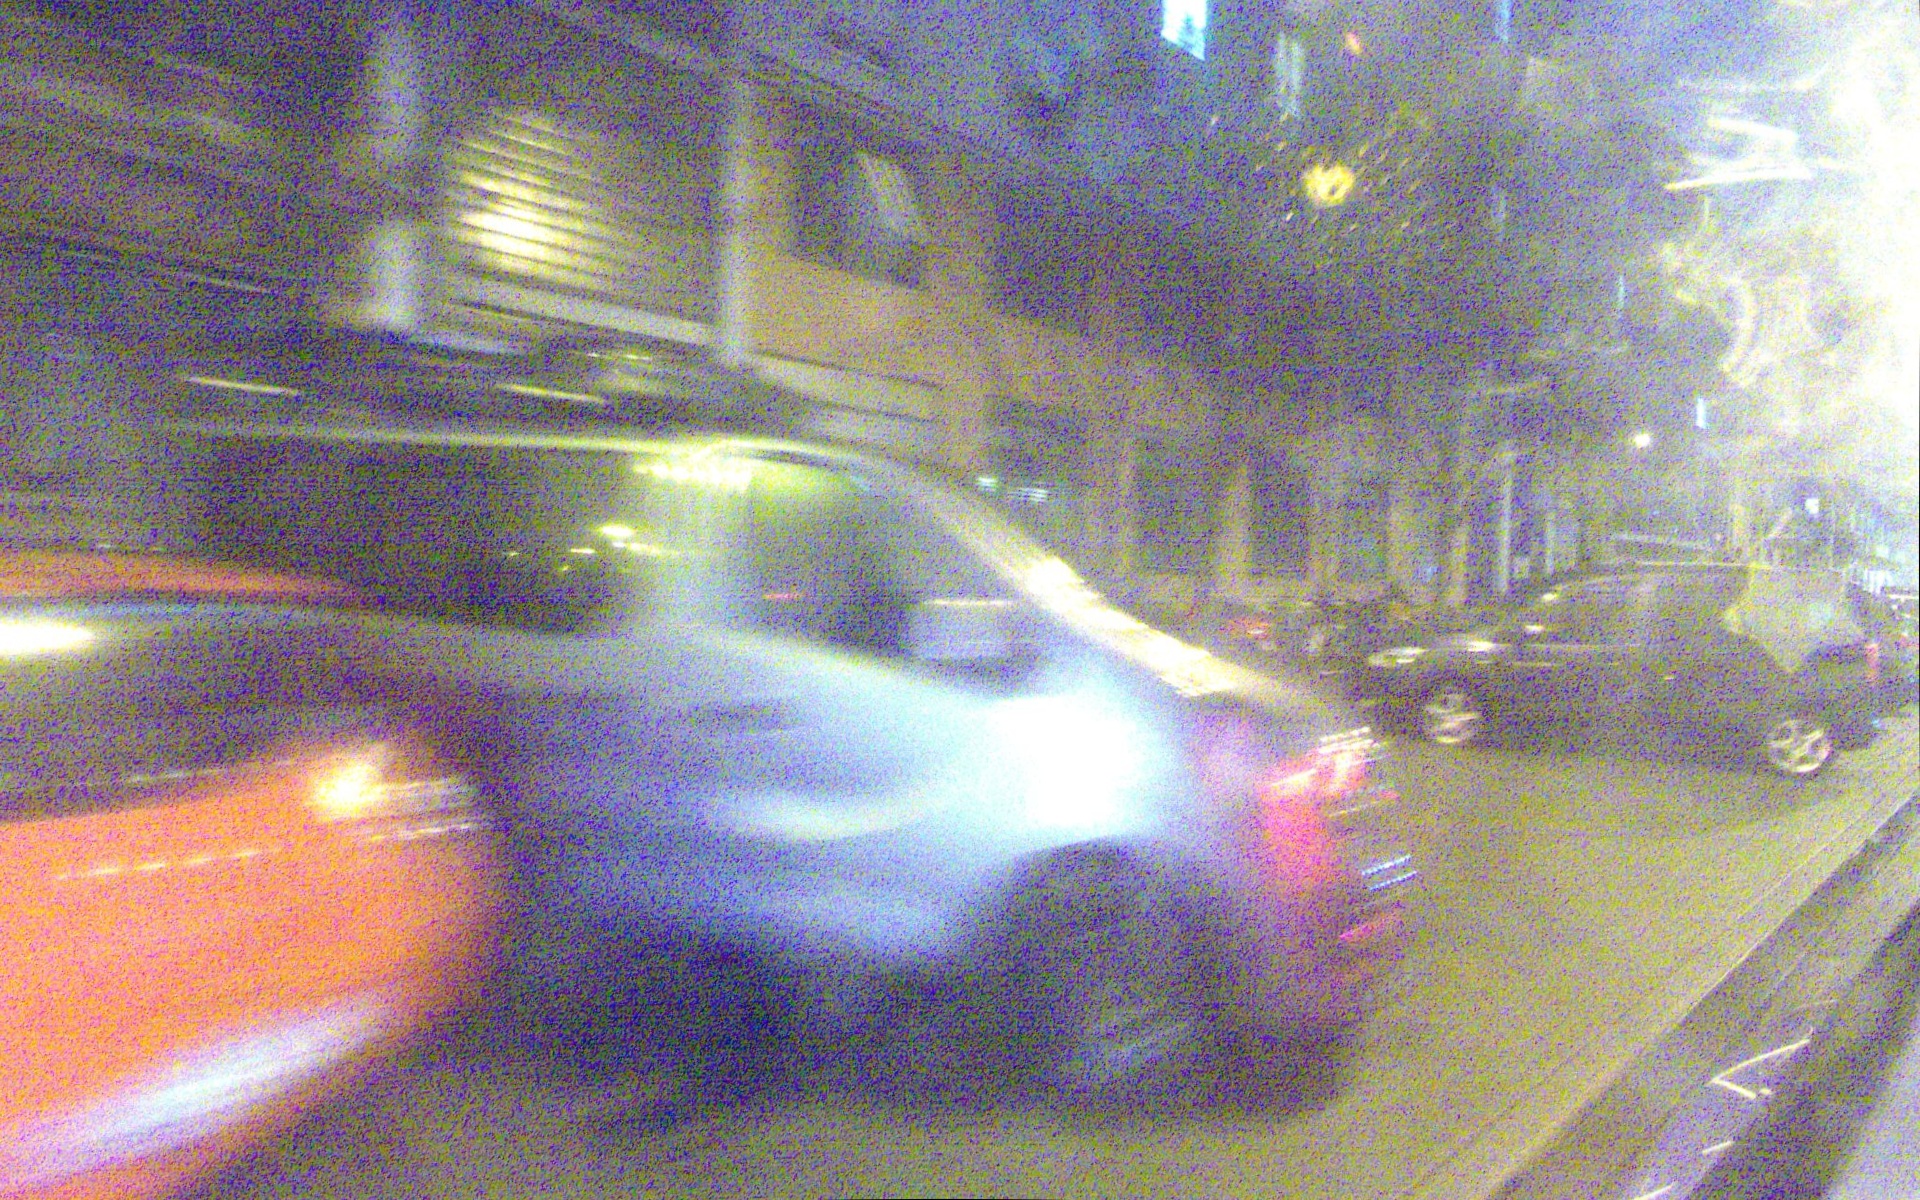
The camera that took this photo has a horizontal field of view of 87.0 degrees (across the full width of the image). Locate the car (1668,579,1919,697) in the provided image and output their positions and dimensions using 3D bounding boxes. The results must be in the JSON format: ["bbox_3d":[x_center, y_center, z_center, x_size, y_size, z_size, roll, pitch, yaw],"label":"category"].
[{"bbox_3d":[14.413,0.576,16.741,4.059,1.787,1.845,1,0,22],"label":"car"}]

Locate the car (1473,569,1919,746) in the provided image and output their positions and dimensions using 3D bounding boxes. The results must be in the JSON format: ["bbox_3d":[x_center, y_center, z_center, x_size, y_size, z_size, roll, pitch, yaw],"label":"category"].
[{"bbox_3d":[8.109,0.561,11.543,3.722,1.750,1.708,1,0,17],"label":"car"}]

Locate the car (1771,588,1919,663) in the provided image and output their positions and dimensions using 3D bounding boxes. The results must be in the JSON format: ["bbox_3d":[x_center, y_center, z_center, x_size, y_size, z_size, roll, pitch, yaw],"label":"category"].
[{"bbox_3d":[21.756,0.616,23.897,3.674,1.541,1.643,4,3,25],"label":"car"}]

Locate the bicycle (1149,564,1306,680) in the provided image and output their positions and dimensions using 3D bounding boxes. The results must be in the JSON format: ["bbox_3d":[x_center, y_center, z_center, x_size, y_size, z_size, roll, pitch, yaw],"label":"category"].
[{"bbox_3d":[3.598,0.254,13.793,0.767,1.351,1.980,1,4,-34],"label":"bicycle"}]

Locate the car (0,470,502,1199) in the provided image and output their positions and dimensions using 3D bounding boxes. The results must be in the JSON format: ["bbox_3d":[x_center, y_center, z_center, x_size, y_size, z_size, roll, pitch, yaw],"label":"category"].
[{"bbox_3d":[-3.001,0.505,2.264,3.350,1.561,1.572,2,2,14],"label":"car"}]

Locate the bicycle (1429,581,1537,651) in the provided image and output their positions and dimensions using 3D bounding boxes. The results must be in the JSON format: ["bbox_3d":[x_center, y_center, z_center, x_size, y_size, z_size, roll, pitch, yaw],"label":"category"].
[{"bbox_3d":[10.067,0.287,19.526,1.685,1.160,0.588,6,4,42],"label":"bicycle"}]

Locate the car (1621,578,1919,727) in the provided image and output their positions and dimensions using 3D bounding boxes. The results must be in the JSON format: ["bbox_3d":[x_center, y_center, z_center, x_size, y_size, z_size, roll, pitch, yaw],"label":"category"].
[{"bbox_3d":[10.977,0.615,13.063,3.755,1.750,1.730,1,0,20],"label":"car"}]

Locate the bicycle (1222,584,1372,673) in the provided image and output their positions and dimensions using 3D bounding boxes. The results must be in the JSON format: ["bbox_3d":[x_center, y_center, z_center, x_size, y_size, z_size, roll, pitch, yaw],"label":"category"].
[{"bbox_3d":[4.815,0.375,14.585,1.972,1.067,0.502,6,4,43],"label":"bicycle"}]

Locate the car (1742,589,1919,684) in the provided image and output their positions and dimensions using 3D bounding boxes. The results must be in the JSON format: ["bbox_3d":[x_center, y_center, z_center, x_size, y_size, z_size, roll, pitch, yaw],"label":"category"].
[{"bbox_3d":[16.656,0.636,18.442,3.532,1.631,1.696,1,0,28],"label":"car"}]

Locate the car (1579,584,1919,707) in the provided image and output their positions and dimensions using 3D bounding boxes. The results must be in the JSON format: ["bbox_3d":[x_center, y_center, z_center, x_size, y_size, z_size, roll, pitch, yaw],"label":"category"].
[{"bbox_3d":[11.839,0.606,15.187,4.012,1.631,1.832,1,0,20],"label":"car"}]

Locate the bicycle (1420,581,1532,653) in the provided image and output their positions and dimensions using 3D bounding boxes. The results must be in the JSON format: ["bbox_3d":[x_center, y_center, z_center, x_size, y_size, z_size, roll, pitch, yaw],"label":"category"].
[{"bbox_3d":[9.647,0.292,18.960,1.685,1.160,0.655,6,4,42],"label":"bicycle"}]

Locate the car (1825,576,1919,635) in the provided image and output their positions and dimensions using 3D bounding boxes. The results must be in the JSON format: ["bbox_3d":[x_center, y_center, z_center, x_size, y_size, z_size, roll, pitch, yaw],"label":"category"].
[{"bbox_3d":[40.486,0.263,43.151,4.872,2.369,2.221,2,2,15],"label":"car"}]

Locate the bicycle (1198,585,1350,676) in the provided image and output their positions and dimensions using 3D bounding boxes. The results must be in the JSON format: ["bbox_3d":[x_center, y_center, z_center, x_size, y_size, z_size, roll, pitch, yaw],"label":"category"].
[{"bbox_3d":[4.379,0.389,14.248,1.972,1.067,0.502,6,4,43],"label":"bicycle"}]

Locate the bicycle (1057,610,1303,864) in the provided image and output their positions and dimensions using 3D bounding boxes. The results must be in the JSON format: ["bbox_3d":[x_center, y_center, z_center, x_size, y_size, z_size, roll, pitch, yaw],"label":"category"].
[{"bbox_3d":[1.313,0.667,5.752,0.583,1.186,1.838,1,1,39],"label":"bicycle"}]

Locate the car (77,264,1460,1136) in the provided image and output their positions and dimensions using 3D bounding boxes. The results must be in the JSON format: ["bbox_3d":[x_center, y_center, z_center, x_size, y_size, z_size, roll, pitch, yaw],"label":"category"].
[{"bbox_3d":[-0.794,0.144,4.135,4.655,2.275,1.939,2,2,14],"label":"car"}]

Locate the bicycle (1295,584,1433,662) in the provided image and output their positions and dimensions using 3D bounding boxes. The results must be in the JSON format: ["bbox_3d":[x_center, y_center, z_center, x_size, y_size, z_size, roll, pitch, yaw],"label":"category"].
[{"bbox_3d":[6.519,0.344,16.411,1.972,1.067,0.502,6,4,43],"label":"bicycle"}]

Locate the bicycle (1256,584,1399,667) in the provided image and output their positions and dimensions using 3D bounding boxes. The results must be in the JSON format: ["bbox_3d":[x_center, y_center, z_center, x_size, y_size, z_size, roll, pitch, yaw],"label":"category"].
[{"bbox_3d":[5.630,0.354,15.603,1.972,1.067,0.502,6,4,43],"label":"bicycle"}]

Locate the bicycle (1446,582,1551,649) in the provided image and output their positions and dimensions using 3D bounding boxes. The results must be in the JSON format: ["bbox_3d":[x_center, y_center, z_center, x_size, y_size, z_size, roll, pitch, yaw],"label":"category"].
[{"bbox_3d":[10.590,0.287,19.945,1.685,1.160,0.533,6,4,42],"label":"bicycle"}]

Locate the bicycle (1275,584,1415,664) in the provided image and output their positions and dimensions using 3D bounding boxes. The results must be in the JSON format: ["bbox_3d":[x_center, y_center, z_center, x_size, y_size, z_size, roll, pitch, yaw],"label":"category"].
[{"bbox_3d":[6.071,0.344,16.062,1.972,1.067,0.502,6,4,43],"label":"bicycle"}]

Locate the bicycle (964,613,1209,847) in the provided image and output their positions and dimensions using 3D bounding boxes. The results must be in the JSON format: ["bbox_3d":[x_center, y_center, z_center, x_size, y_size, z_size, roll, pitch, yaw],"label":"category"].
[{"bbox_3d":[0.834,0.690,6.180,0.583,1.186,1.838,1,1,39],"label":"bicycle"}]

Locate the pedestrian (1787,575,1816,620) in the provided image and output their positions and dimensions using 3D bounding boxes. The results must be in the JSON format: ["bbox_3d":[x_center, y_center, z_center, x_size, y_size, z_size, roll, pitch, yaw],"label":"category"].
[{"bbox_3d":[36.466,-0.113,43.833,0.828,1.863,0.747,4,1,-42],"label":"pedestrian"}]

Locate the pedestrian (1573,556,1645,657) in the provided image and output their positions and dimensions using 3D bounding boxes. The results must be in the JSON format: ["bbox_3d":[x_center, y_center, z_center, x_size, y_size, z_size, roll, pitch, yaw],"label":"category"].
[{"bbox_3d":[12.818,0.105,19.984,0.932,1.856,0.840,-1,7,-44],"label":"pedestrian"}]

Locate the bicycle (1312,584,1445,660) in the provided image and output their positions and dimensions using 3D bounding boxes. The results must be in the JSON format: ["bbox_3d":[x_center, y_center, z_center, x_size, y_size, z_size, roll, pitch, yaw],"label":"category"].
[{"bbox_3d":[6.993,0.342,16.993,1.972,1.067,0.502,6,4,43],"label":"bicycle"}]

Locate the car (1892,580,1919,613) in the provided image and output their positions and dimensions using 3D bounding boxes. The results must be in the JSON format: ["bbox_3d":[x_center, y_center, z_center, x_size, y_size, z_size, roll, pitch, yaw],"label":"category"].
[{"bbox_3d":[52.814,-0.086,54.150,3.754,1.709,1.826,4,2,18],"label":"car"}]

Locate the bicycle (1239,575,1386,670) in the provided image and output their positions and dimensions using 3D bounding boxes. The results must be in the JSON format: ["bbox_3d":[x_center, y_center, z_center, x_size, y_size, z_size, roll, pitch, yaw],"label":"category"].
[{"bbox_3d":[5.222,0.301,15.090,1.972,1.205,0.502,6,4,43],"label":"bicycle"}]

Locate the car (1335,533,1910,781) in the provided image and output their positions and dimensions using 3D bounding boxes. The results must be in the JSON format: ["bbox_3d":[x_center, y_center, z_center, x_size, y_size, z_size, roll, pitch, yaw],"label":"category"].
[{"bbox_3d":[6.007,0.410,9.787,4.186,1.881,1.710,4,3,14],"label":"car"}]
